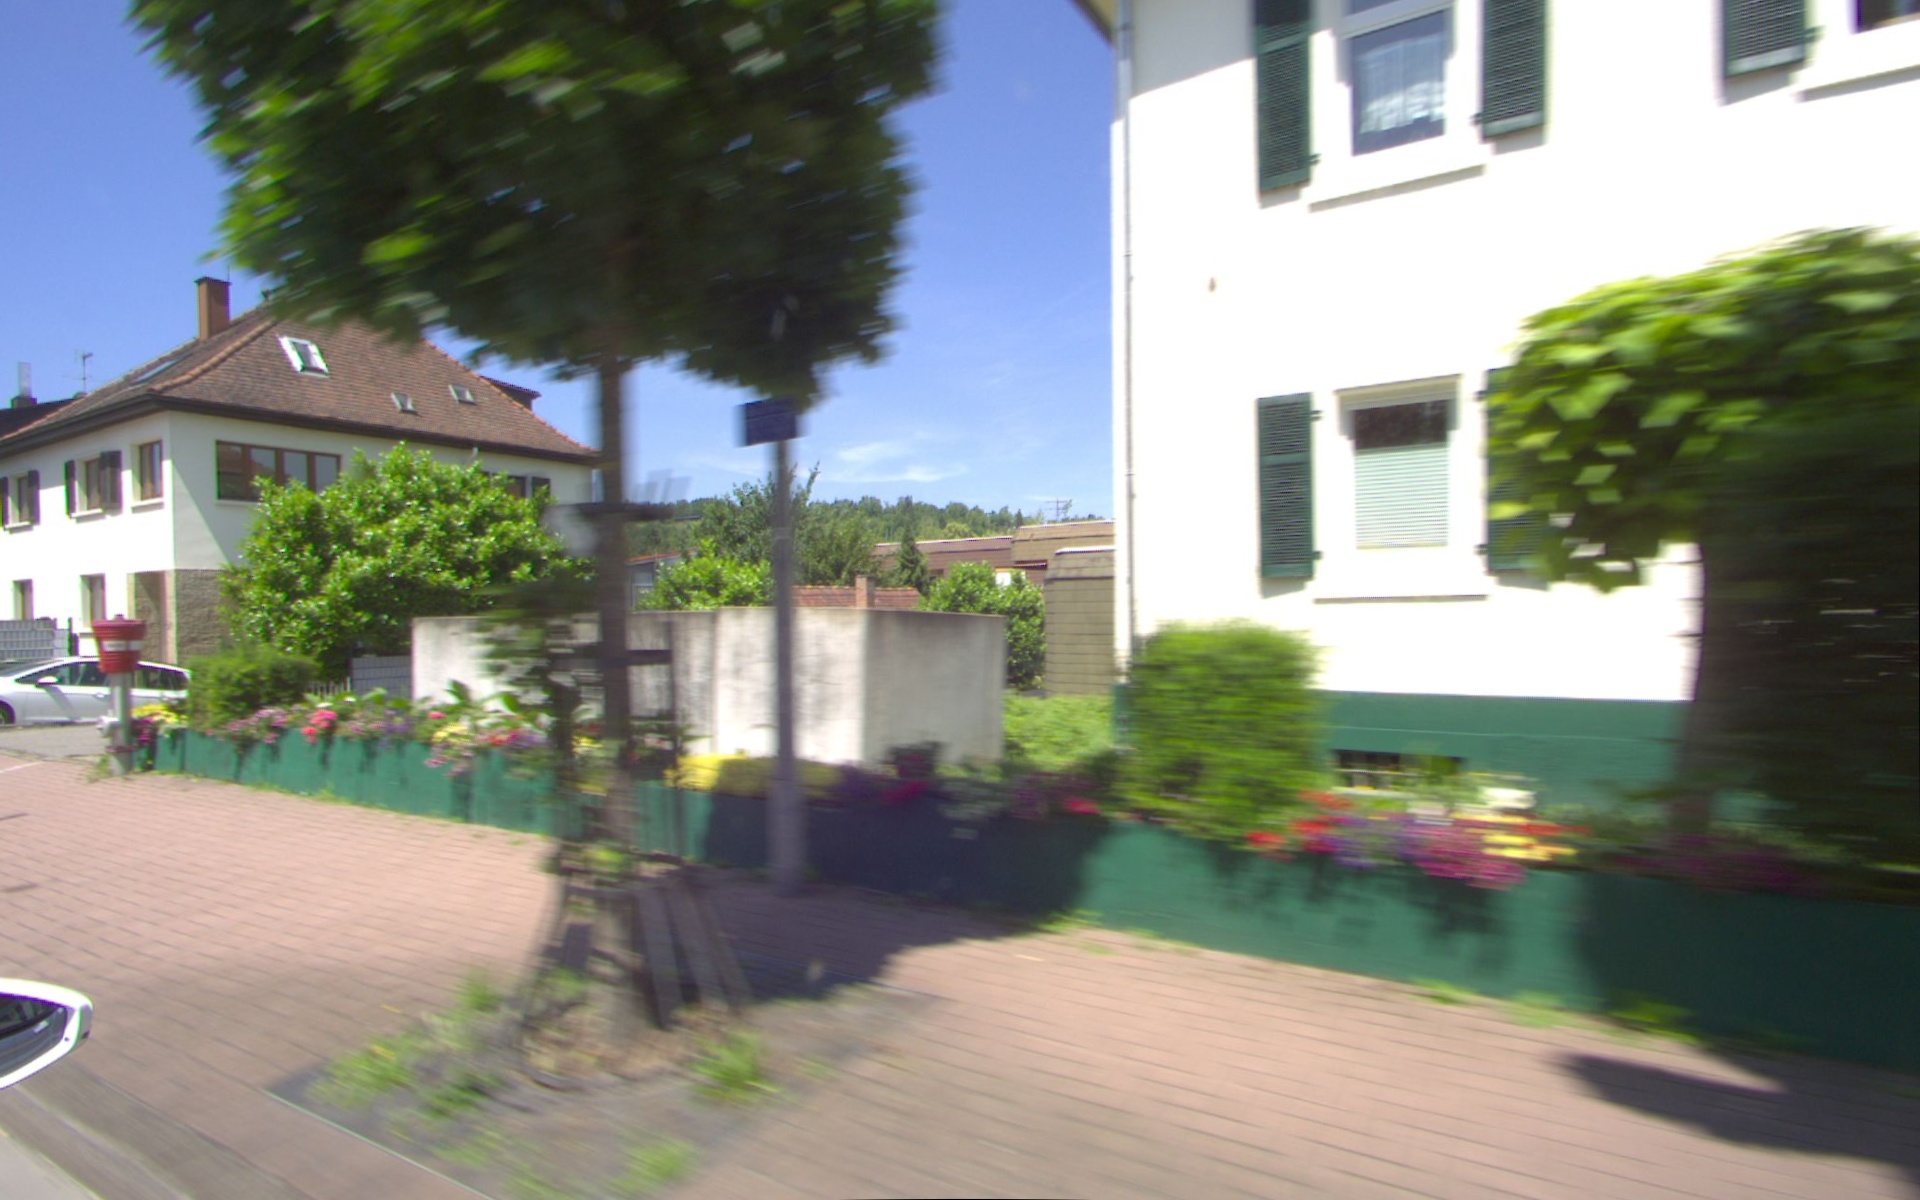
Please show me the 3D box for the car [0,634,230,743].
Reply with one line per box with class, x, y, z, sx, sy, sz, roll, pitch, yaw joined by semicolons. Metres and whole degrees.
car;-16.211;1.615;18.223;1.880;1.603;4.175;-1;-11;32
